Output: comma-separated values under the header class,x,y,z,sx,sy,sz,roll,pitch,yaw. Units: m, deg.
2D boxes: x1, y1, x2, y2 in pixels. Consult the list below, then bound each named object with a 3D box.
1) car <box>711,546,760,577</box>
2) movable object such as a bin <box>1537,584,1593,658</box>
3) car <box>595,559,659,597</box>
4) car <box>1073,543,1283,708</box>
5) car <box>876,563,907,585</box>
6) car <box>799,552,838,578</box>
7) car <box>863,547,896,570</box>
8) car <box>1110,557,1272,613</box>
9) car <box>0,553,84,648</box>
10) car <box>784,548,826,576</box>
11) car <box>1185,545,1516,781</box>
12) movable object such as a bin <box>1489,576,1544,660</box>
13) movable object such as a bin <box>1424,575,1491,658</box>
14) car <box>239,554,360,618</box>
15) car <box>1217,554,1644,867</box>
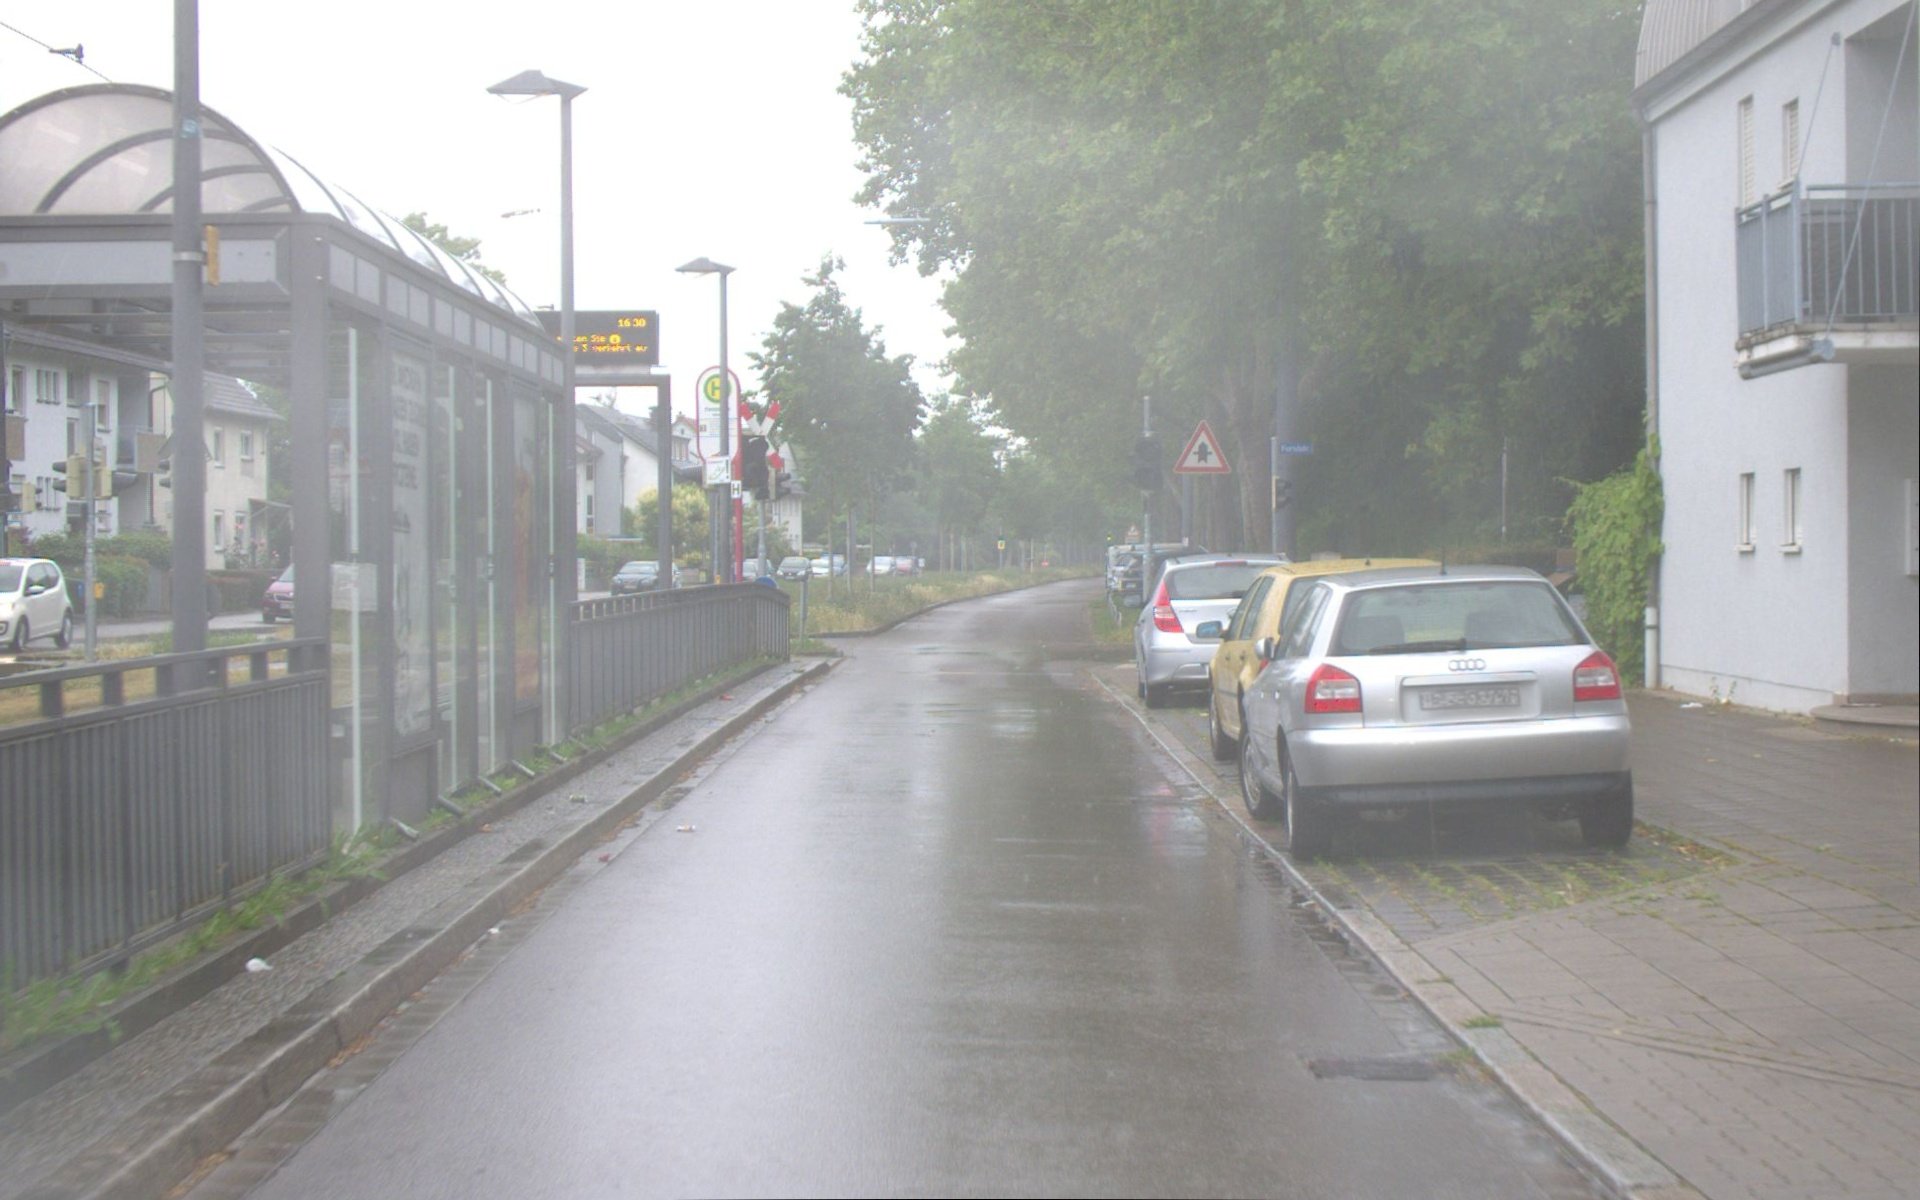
class,x,y,z,sx,sy,sz,roll,pitch,yaw
car,-11.226,-1.901,171.954,1.928,1.481,3.999,1,0,3
movable object such as a bin,7.601,0.257,43.200,0.536,0.896,0.739,-2,0,0
car,-13.316,-0.879,137.628,1.928,1.481,3.999,1,0,3
car,2.123,0.241,34.391,1.807,1.462,3.794,-3,0,1
car,-4.956,-1.887,249.633,1.928,1.481,3.999,1,0,3
car,-8.445,-2.091,206.069,1.928,1.481,3.999,1,0,3
car,-5.506,-2.865,236.385,1.928,1.481,3.999,1,0,3
car,6.281,-0.405,93.632,3.986,1.448,2.001,1,0,-14
car,-15.544,-0.006,55.618,1.633,1.488,4.000,1,0,1
car,-8.726,-2.136,194.172,1.928,1.481,3.999,1,0,3
car,2.603,0.398,23.722,1.807,1.400,3.794,-3,0,1
movable object such as a bin,7.015,0.223,43.368,0.536,1.018,0.739,-2,0,0
movable object such as a bin,6.373,0.208,44.024,0.692,1.018,0.824,-2,0,0
car,-15.946,-0.323,83.204,1.928,1.481,3.999,1,0,3
car,2.412,0.527,18.693,1.650,1.400,4.649,-3,0,1
